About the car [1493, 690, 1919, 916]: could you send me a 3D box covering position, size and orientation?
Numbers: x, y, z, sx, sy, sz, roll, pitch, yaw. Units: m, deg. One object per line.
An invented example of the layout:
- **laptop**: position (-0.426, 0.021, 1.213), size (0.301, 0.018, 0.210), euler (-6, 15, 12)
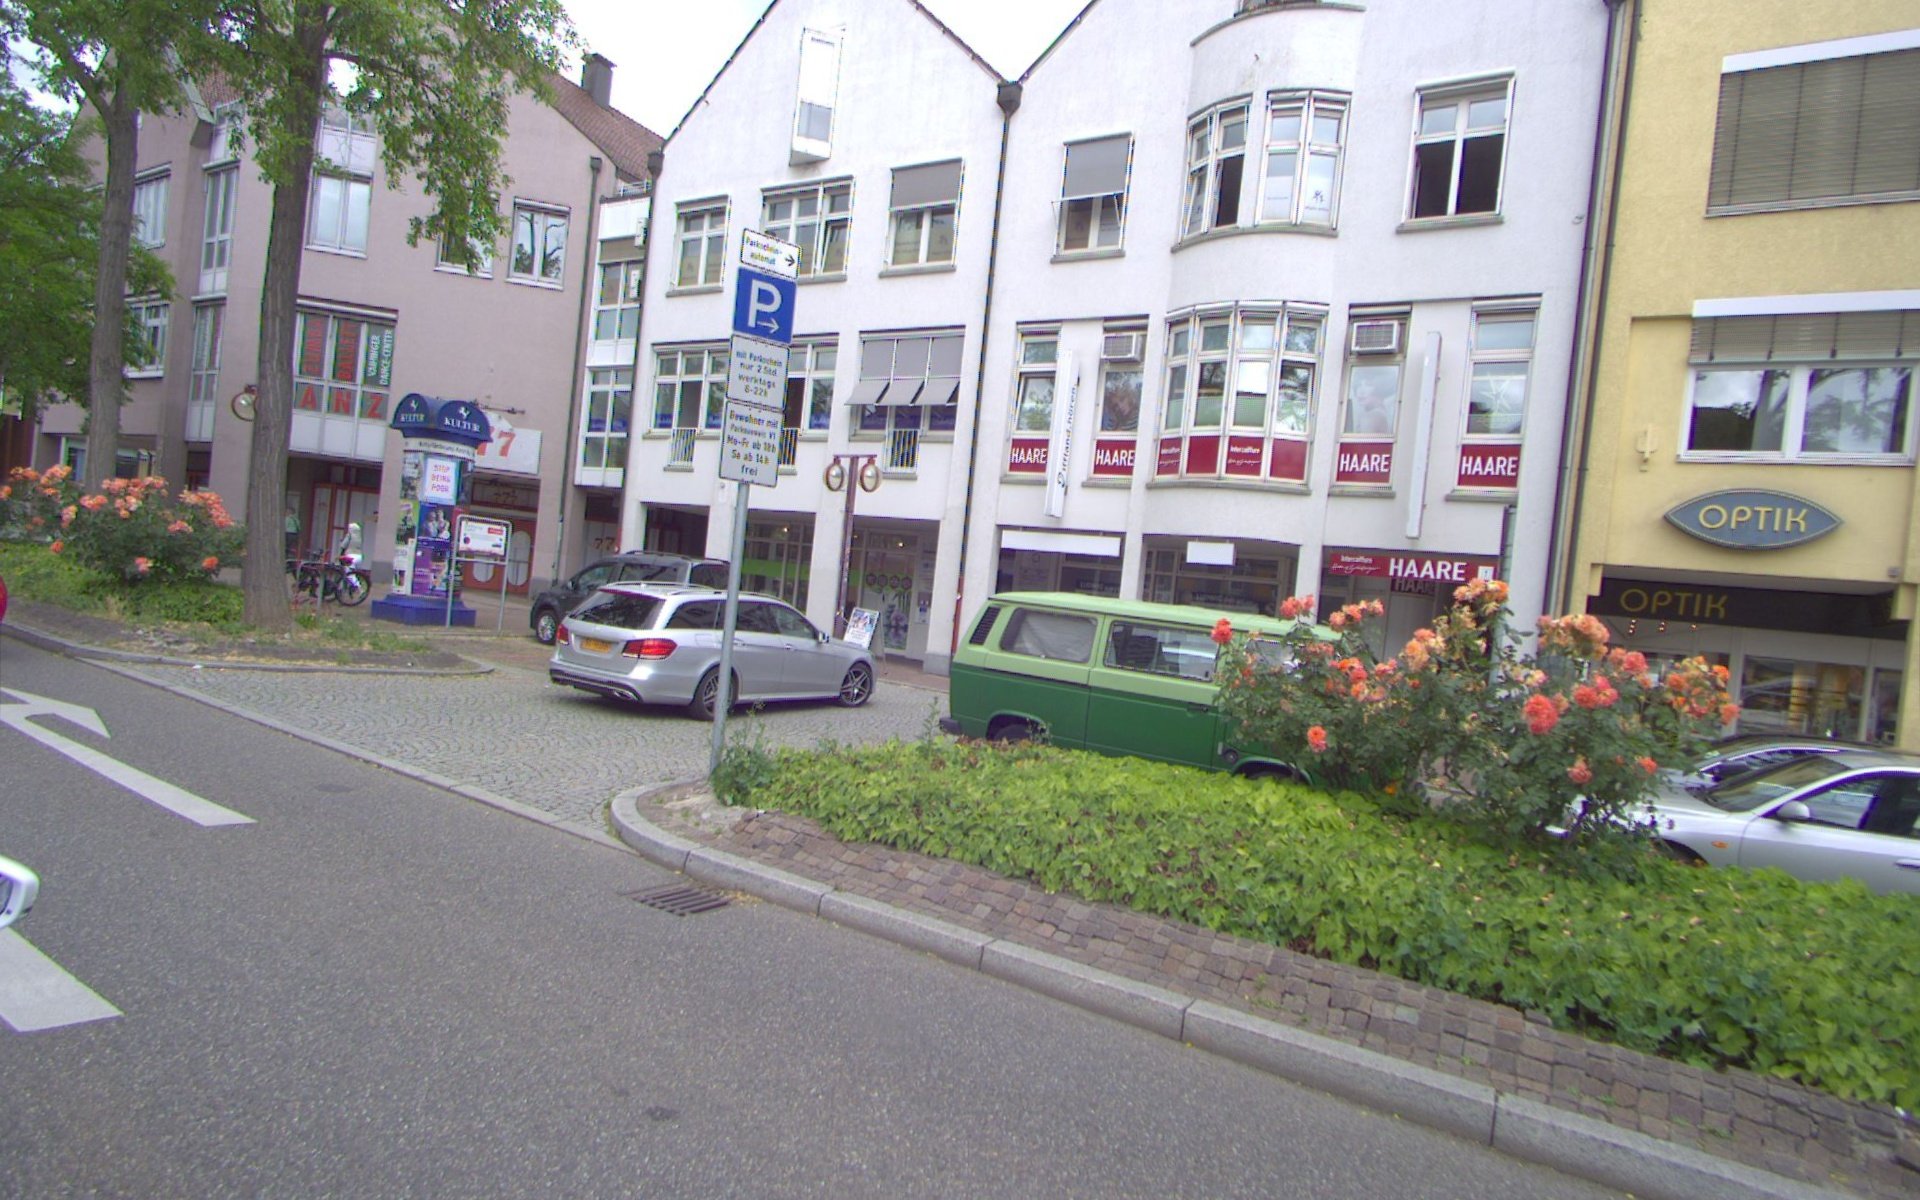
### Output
- **car**: position (7.771, 1.918, 9.851), size (4.344, 1.394, 1.999), euler (7, 1, 30)

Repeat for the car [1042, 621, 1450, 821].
- **car**: position (3.389, 1.303, 12.146), size (4.319, 1.562, 1.798), euler (7, 1, 30)

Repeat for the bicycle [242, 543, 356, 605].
- **bicycle**: position (-13.001, -0.494, 19.828), size (0.440, 1.009, 1.769), euler (7, 0, 35)

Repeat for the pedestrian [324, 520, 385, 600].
- **pedestrian**: position (-13.529, -0.887, 22.476), size (0.805, 1.681, 0.789), euler (7, 3, 31)

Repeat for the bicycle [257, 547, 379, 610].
- **bicycle**: position (-12.493, -0.396, 19.626), size (0.460, 1.009, 1.902), euler (7, 0, 35)

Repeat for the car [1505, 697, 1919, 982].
- **car**: position (6.539, 1.778, 7.355), size (4.344, 1.468, 1.765), euler (7, 0, 30)

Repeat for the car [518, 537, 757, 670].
- **car**: position (-5.777, 0.048, 17.936), size (3.897, 1.855, 1.640), euler (7, 1, 27)

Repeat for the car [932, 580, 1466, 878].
- **car**: position (2.229, 1.027, 9.749), size (4.527, 1.900, 1.882), euler (7, 1, 30)

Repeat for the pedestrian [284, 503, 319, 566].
- **pedestrian**: position (-18.685, -1.844, 28.547), size (0.631, 1.697, 0.584), euler (7, 1, -30)

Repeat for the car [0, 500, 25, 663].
- **car**: position (-10.388, -0.403, 9.321), size (3.293, 1.459, 1.590), euler (7, -2, 32)

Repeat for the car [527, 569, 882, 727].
- **car**: position (-3.013, 0.577, 12.866), size (1.789, 1.467, 4.360), euler (8, 2, 29)
